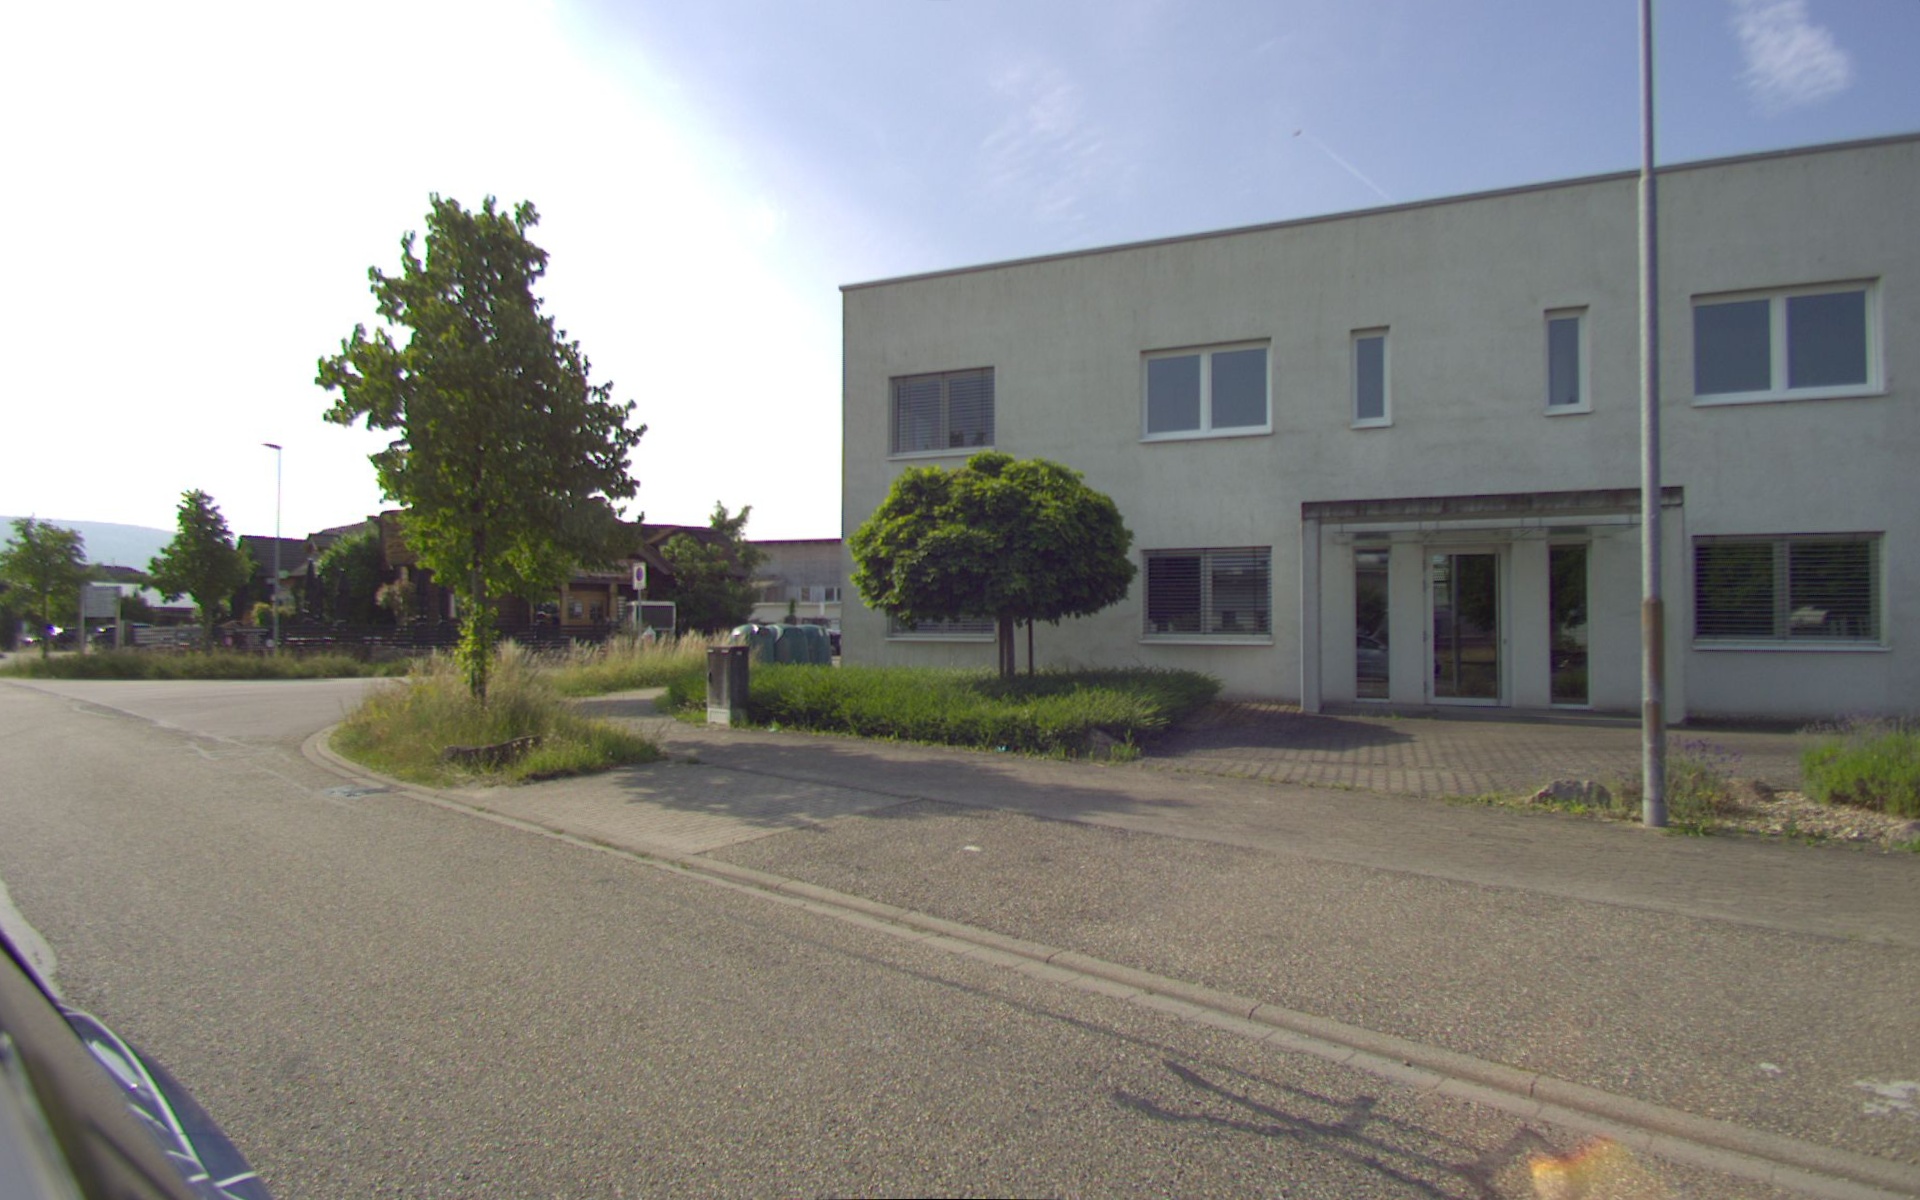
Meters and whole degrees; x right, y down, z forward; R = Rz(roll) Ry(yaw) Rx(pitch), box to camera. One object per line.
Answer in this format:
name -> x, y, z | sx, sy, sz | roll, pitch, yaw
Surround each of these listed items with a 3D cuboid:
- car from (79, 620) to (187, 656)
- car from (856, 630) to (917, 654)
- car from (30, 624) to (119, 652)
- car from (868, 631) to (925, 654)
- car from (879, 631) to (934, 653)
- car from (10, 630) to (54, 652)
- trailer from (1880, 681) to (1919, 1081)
car -> -41.679, 1.893, 51.060 | 1.999, 1.741, 3.944 | -2, -2, 42
car -> -5.542, 3.176, 76.007 | 4.131, 1.748, 1.988 | -1, -2, 19
car -> -58.579, 2.494, 67.018 | 1.985, 1.807, 3.974 | -1, -1, 19
car -> -4.912, 3.303, 78.019 | 3.968, 1.710, 1.988 | -1, -2, 19
car -> -4.234, 3.351, 80.241 | 3.968, 1.671, 1.988 | -1, -2, 19
car -> -66.707, 2.936, 72.730 | 3.542, 1.492, 1.596 | -1, -2, 34
trailer -> 7.093, 0.818, 0.496 | 9.726, 1.082, 2.519 | -2, 0, 41
